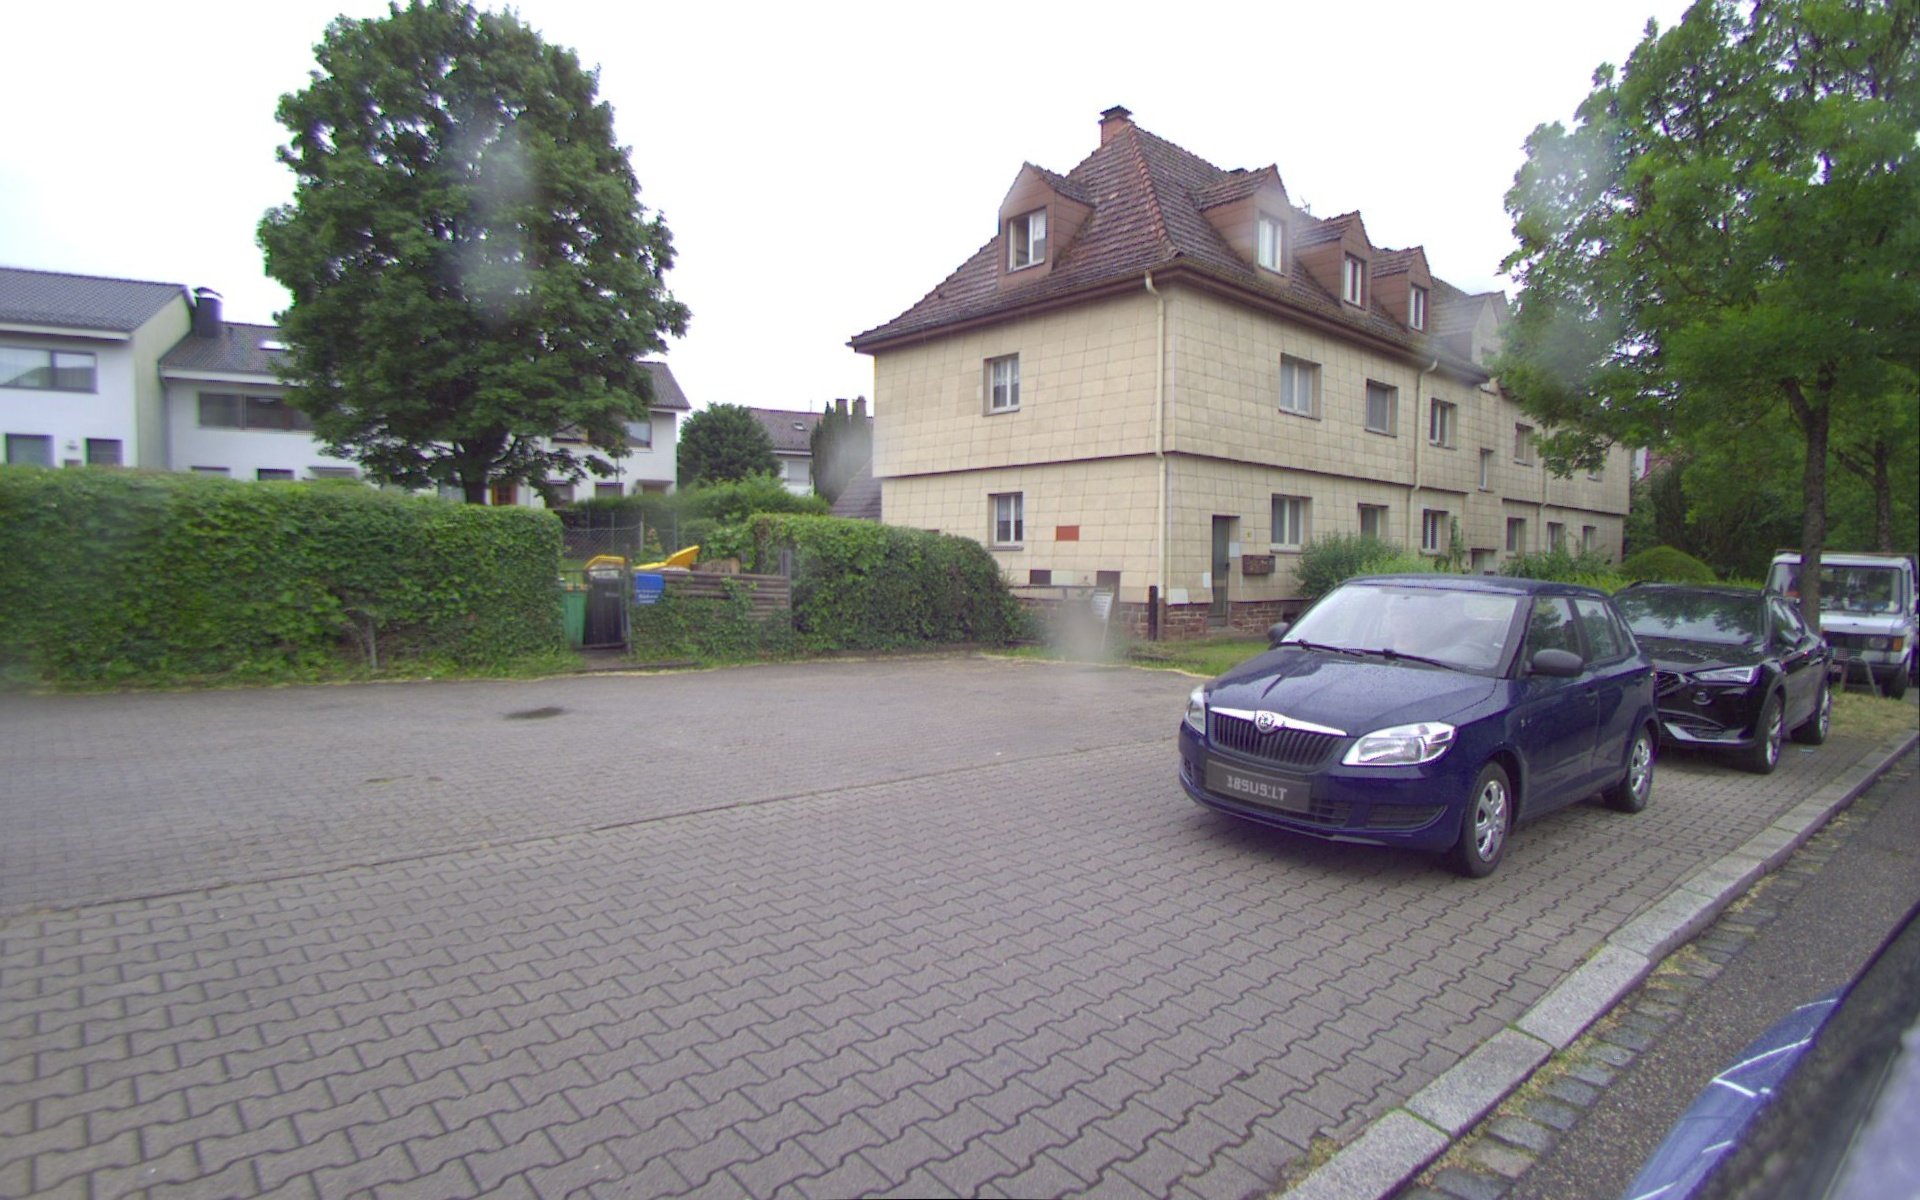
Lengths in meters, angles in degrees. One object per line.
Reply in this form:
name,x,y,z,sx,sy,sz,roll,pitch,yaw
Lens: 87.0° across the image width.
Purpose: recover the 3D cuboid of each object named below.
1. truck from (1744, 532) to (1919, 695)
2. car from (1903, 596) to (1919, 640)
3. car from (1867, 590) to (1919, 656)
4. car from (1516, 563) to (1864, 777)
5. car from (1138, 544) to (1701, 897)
truck,15.408,0.158,17.267,6.391,2.248,2.084,0,4,-43
car,33.184,0.637,34.111,4.423,1.406,1.691,0,4,-43
car,23.475,0.621,24.588,3.951,1.453,1.605,2,3,-42
car,6.994,0.511,9.534,4.110,1.516,1.718,0,4,-42
car,2.961,0.498,6.166,3.787,1.490,1.608,1,3,-40
